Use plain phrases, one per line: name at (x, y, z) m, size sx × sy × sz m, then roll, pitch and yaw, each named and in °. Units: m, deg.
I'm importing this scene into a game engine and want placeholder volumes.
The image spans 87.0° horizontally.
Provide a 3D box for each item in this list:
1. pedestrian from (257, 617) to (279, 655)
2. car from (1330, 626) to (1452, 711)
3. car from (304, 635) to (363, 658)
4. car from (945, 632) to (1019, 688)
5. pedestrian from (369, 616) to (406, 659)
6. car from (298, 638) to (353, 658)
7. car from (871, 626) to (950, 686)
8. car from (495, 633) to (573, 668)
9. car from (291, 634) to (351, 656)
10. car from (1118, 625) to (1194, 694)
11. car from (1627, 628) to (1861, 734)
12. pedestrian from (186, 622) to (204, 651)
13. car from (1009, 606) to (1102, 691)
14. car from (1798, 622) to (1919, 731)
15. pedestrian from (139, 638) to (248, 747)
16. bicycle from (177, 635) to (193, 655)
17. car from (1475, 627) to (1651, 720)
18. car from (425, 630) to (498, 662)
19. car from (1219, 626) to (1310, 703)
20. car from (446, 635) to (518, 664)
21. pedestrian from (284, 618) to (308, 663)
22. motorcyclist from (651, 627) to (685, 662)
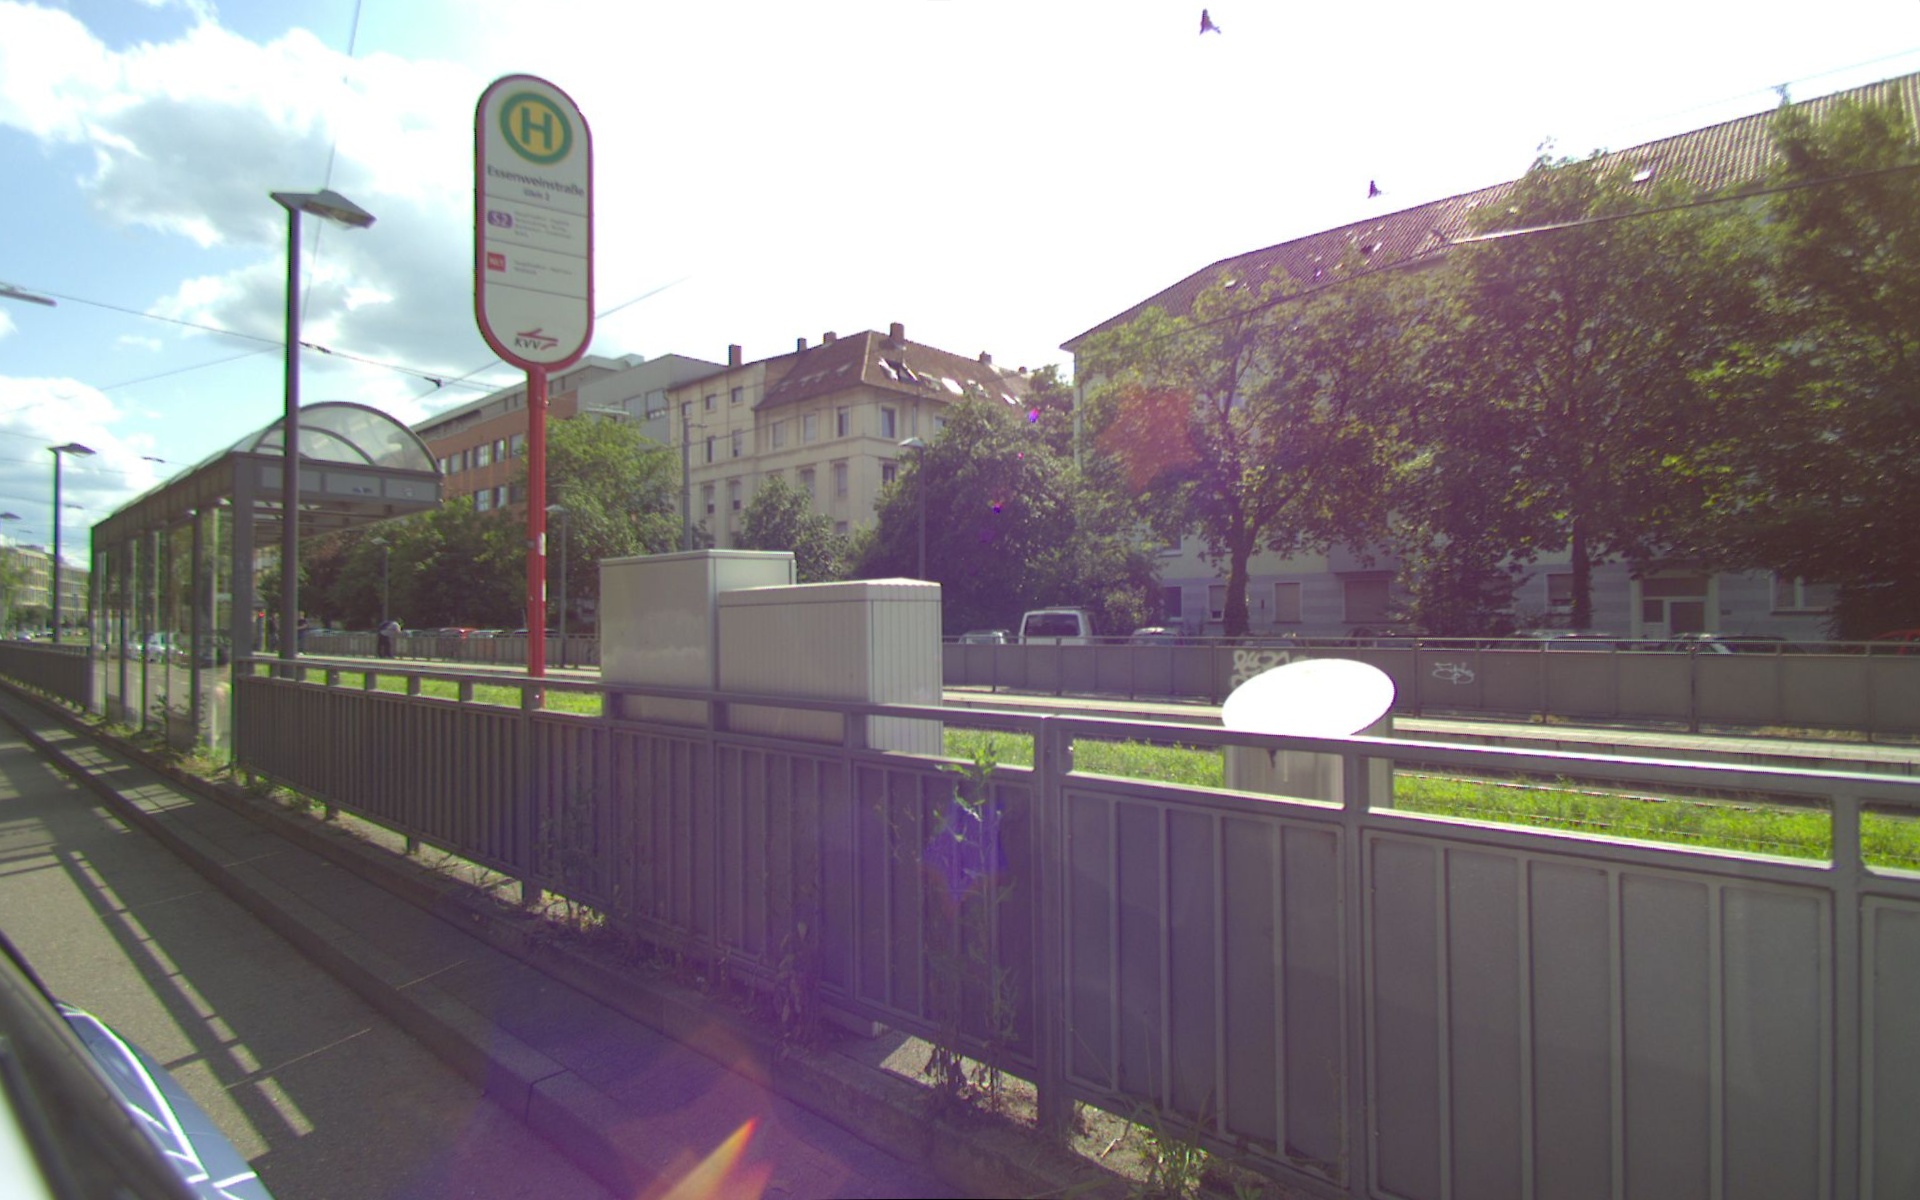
pedestrian at (-32.138, 1.667, 47.007) m, size 0.599 × 1.767 × 0.626 m, roll 0°, pitch -1°, yaw -7°
car at (8.867, 1.357, 21.105) m, size 1.632 × 1.591 × 3.652 m, roll -1°, pitch -2°, yaw 12°
car at (-42.810, 3.162, 69.207) m, size 1.569 × 1.431 × 3.299 m, roll -1°, pitch 0°, yaw 13°
car at (0.710, 1.673, 29.165) m, size 1.591 × 1.497 × 3.988 m, roll -1°, pitch -2°, yaw 9°
pedestrian at (-21.729, 1.422, 38.396) m, size 0.798 × 1.590 × 0.978 m, roll -1°, pitch -2°, yaw 40°
car at (-44.816, 3.386, 71.561) m, size 1.585 × 1.314 × 3.244 m, roll -1°, pitch -2°, yaw 7°
car at (-1.442, 1.644, 30.809) m, size 1.805 × 1.652 × 3.993 m, roll -2°, pitch -2°, yaw 6°
car at (-20.486, 2.396, 48.892) m, size 1.901 × 1.576 × 4.150 m, roll 0°, pitch -2°, yaw 2°
car at (-46.980, 3.300, 74.533) m, size 1.630 × 1.508 × 3.993 m, roll -1°, pitch -2°, yaw 6°
car at (4.919, 1.436, 25.506) m, size 1.700 × 1.591 × 3.938 m, roll -1°, pitch -2°, yaw 11°
car at (13.046, 1.278, 17.137) m, size 1.632 × 1.591 × 3.652 m, roll -1°, pitch -2°, yaw 12°
pedestrian at (-45.492, 2.161, 60.178) m, size 0.798 × 1.737 × 0.631 m, roll -1°, pitch -2°, yaw 40°
car at (2.611, 1.253, 26.793) m, size 2.028 × 2.086 × 3.937 m, roll -1°, pitch -2°, yaw 12°
car at (14.967, 1.131, 15.565) m, size 1.632 × 1.591 × 3.652 m, roll -1°, pitch -2°, yaw 12°
pedestrian at (-7.966, 0.944, 10.549) m, size 0.652 × 1.080 × 0.725 m, roll 0°, pitch -3°, yaw -13°
bicycle at (-45.818, 2.652, 59.809) m, size 0.653 × 1.122 × 1.881 m, roll 3°, pitch -3°, yaw -38°
car at (10.985, 1.275, 18.744) m, size 1.593 × 1.525 × 4.011 m, roll -1°, pitch -2°, yaw 13°
car at (-27.365, 2.488, 55.703) m, size 1.811 × 1.652 × 4.132 m, roll 0°, pitch -2°, yaw 3°
car at (6.807, 1.396, 22.957) m, size 1.632 × 1.591 × 3.652 m, roll -1°, pitch -2°, yaw 12°
car at (-25.143, 2.575, 53.349) m, size 1.792 × 1.402 × 4.020 m, roll -2°, pitch -2°, yaw 2°
pedestrian at (-28.744, 1.759, 43.789) m, size 0.742 × 1.906 × 0.639 m, roll 1°, pitch 0°, yaw -45°
motorcyclist at (-11.342, 1.719, 39.306) m, size 0.987 × 1.349 × 0.928 m, roll -2°, pitch -3°, yaw 44°
